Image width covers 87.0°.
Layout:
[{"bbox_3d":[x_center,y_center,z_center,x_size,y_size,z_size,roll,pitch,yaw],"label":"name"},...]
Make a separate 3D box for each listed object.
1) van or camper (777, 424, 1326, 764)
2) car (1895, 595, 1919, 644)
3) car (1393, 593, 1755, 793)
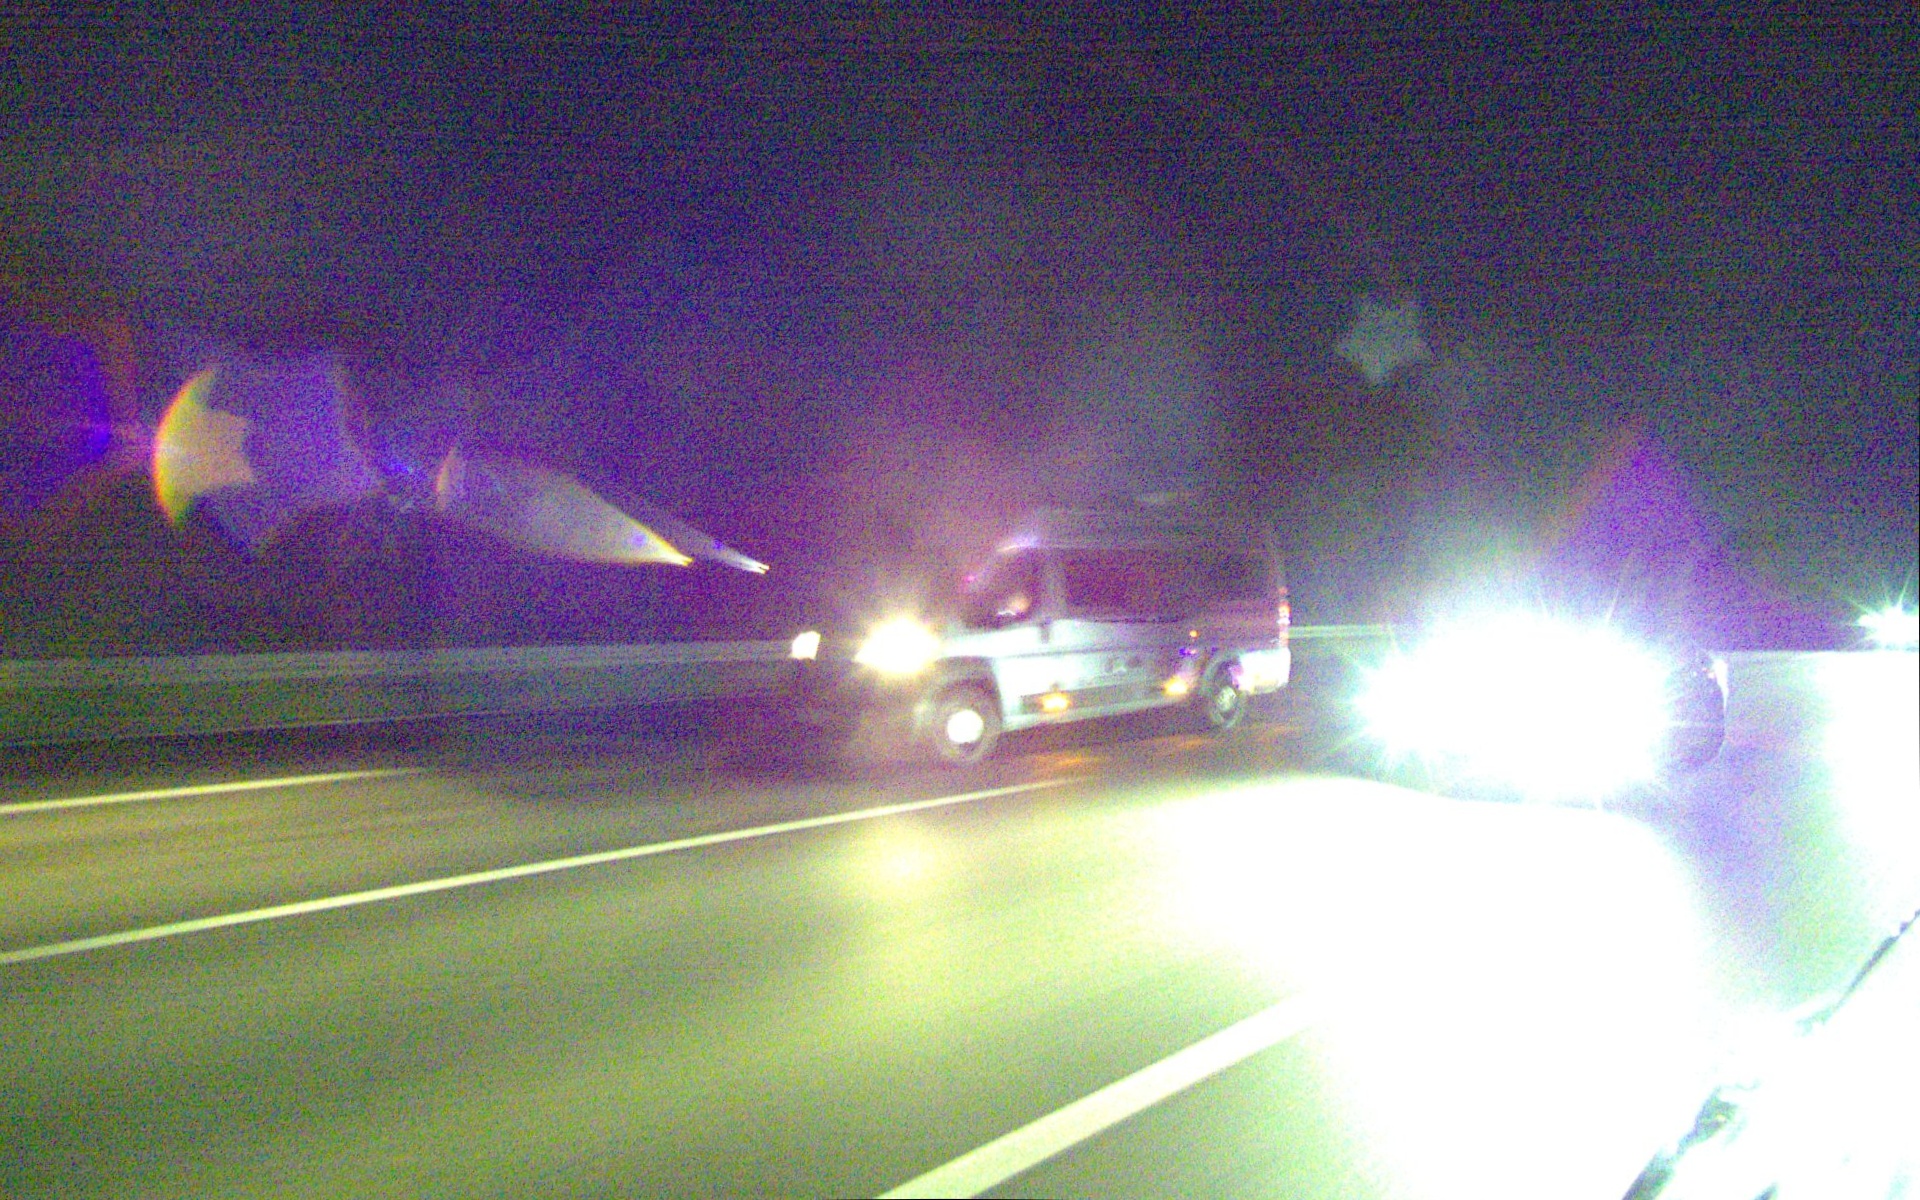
[{"bbox_3d":[1.411,-0.049,11.399,6.686,2.807,2.210,0,0,-42],"label":"van or camper"},{"bbox_3d":[32.423,0.648,33.410,4.151,1.560,1.794,0,1,-41],"label":"car"},{"bbox_3d":[5.861,0.674,9.452,4.151,1.431,1.689,0,2,-41],"label":"car"}]
